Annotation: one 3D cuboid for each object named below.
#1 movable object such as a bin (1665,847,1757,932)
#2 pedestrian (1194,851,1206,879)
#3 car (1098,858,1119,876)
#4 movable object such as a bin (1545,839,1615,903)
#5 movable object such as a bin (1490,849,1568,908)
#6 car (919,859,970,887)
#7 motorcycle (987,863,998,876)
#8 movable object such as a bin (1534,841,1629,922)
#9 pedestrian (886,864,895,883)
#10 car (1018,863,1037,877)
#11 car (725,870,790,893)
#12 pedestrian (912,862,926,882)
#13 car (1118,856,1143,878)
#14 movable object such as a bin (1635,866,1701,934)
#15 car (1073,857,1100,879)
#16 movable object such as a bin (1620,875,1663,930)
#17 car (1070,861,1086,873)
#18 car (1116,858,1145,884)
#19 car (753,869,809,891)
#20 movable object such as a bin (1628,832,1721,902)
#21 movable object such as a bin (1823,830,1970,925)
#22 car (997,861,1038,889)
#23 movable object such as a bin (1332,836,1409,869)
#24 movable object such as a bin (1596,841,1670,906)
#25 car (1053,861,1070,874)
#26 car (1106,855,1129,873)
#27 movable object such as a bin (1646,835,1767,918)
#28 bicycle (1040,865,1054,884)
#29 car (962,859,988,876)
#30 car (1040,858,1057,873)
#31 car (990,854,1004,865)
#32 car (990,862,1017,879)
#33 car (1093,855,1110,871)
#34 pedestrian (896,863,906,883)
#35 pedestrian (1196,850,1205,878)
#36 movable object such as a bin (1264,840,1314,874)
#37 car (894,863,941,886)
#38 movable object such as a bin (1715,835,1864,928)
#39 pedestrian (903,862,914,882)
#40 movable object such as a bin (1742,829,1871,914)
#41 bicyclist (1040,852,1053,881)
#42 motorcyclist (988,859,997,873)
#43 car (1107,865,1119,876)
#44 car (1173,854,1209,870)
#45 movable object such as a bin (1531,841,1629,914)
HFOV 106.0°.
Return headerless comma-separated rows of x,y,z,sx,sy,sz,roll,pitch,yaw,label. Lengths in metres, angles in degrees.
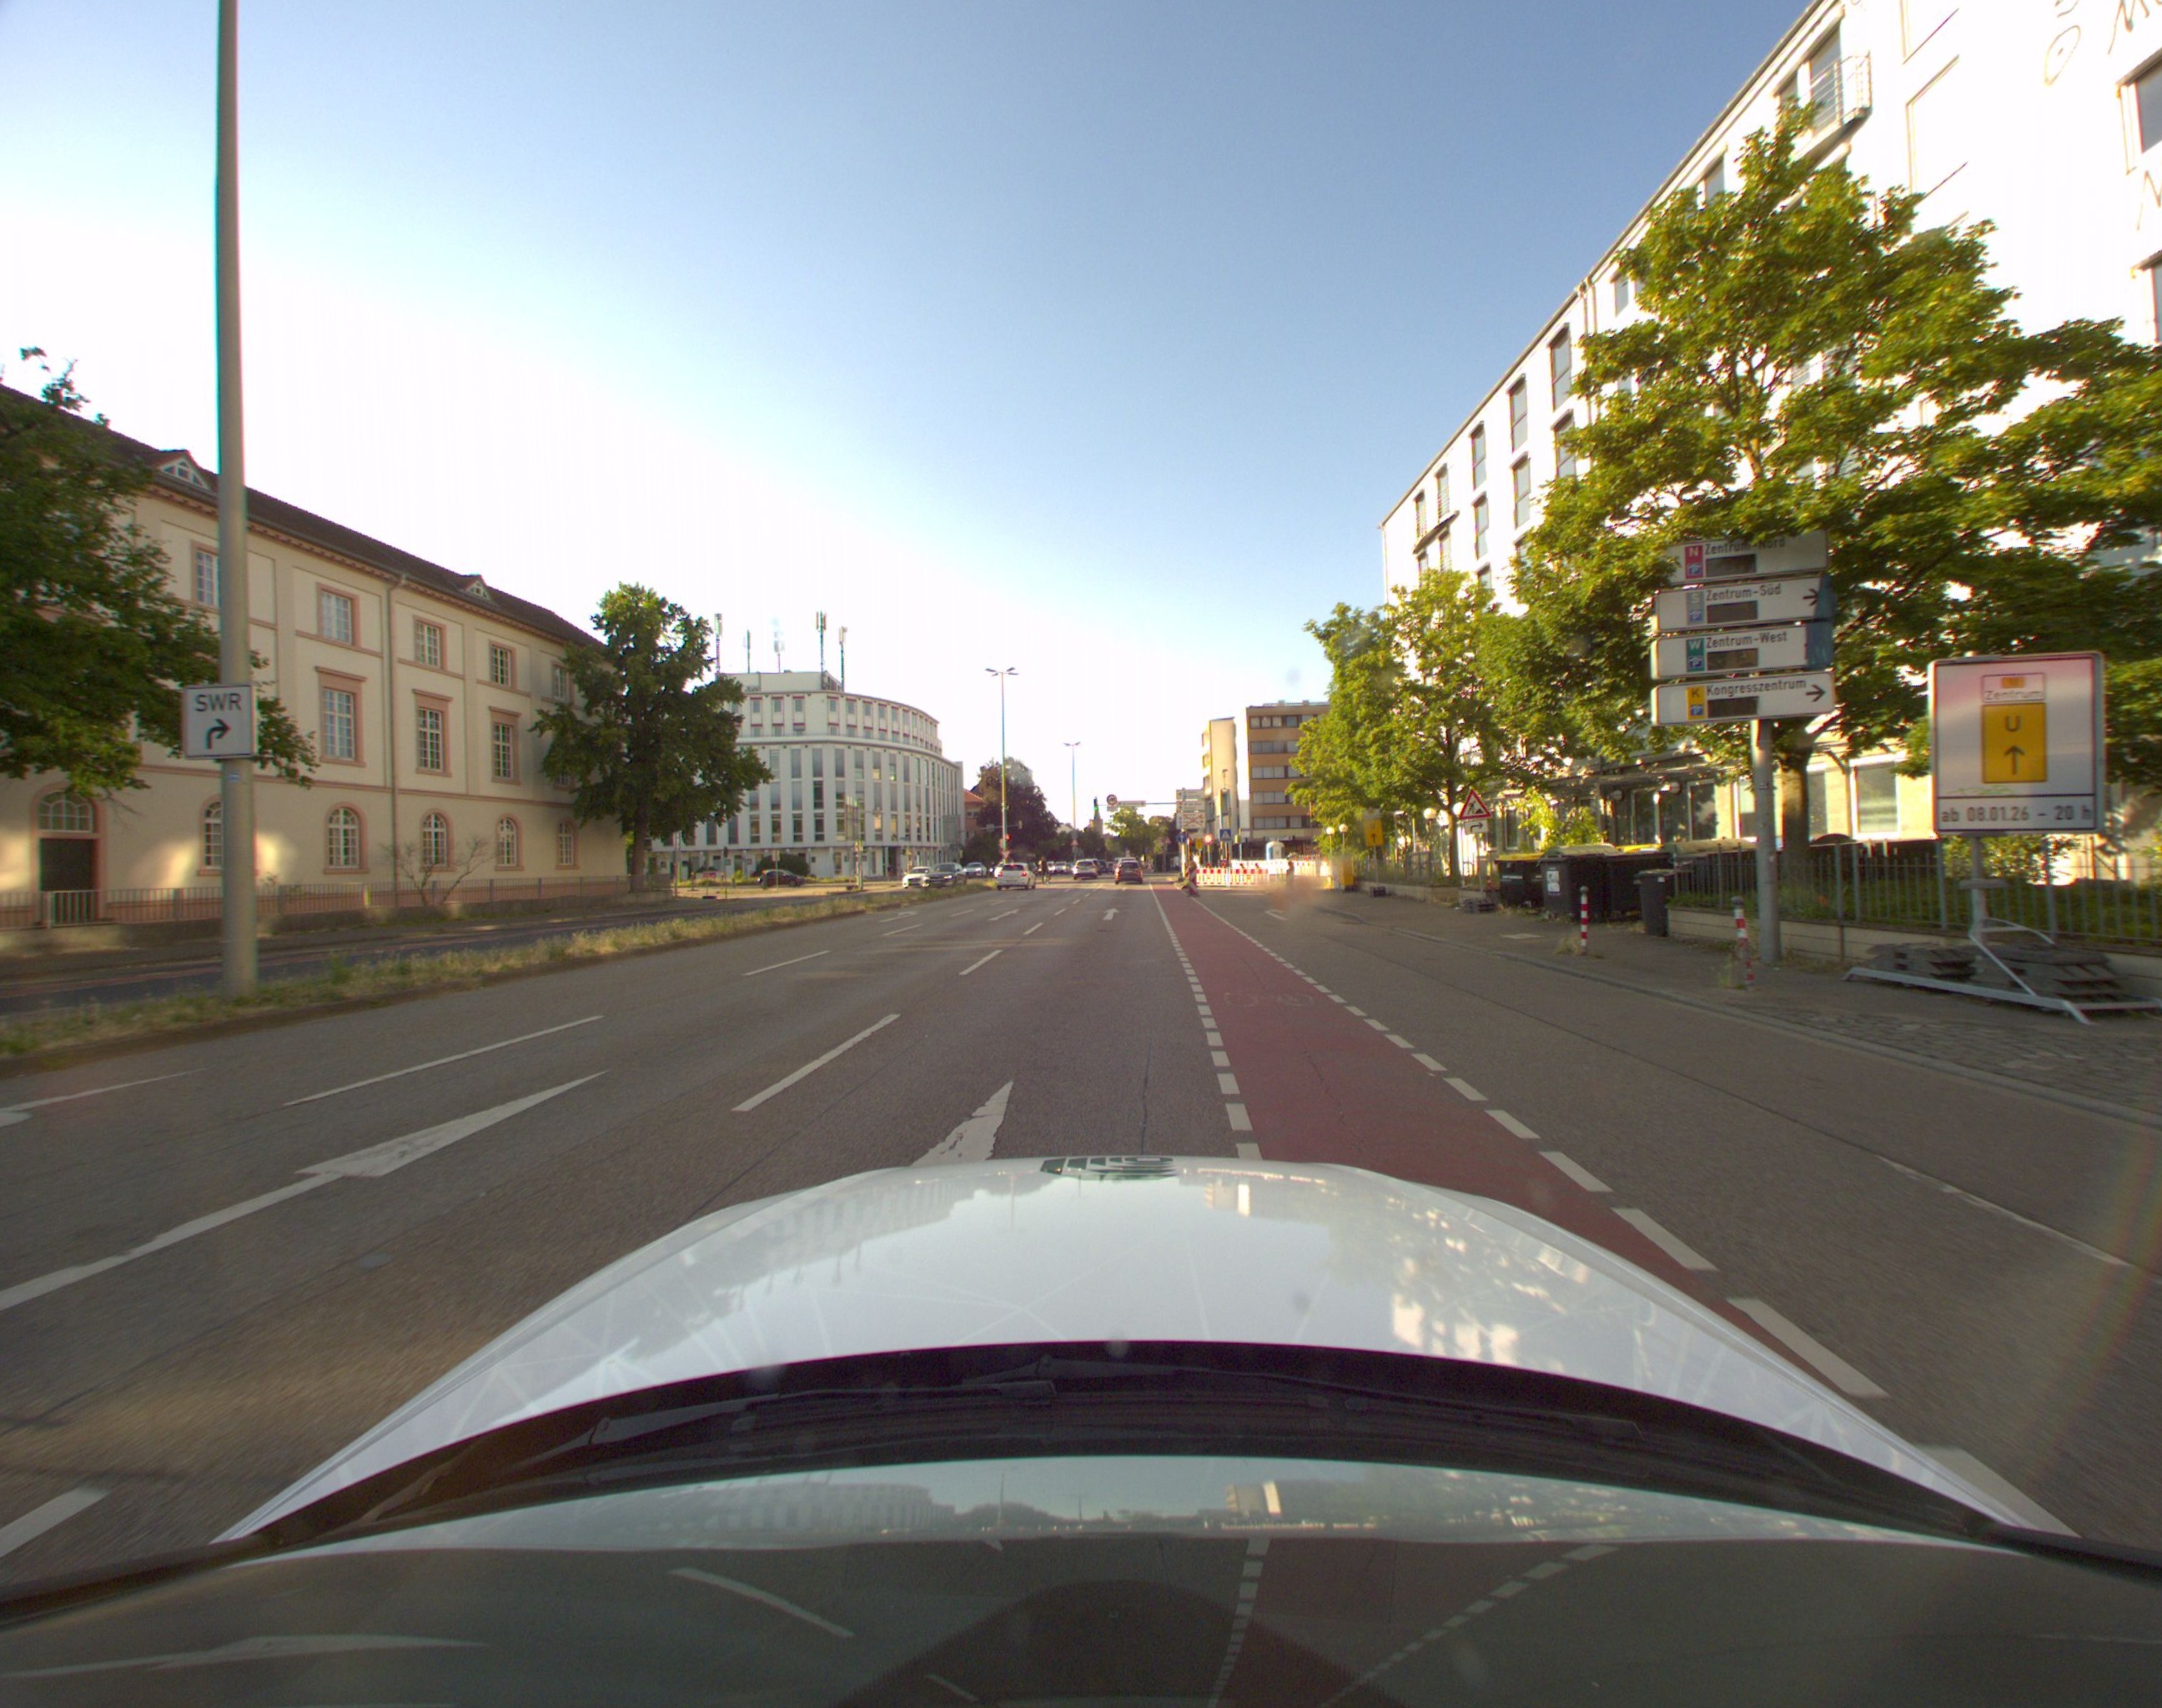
10.165,0.557,13.174,0.774,1.309,0.865,-2,-1,2,movable object such as a bin
7.773,0.709,53.200,0.737,1.799,0.717,-2,-1,8,pedestrian
2.507,1.134,73.795,1.740,1.564,4.054,-2,-1,4,car
12.145,0.406,19.868,1.099,1.485,0.957,-2,-1,3,movable object such as a bin
10.723,0.575,19.524,1.214,1.344,1.051,-2,-1,-12,movable object such as a bin
-8.240,1.133,49.467,1.985,1.578,4.903,-2,-1,3,car
-9.356,1.630,86.257,0.767,1.284,2.844,-2,-1,2,motorcycle
9.863,0.563,16.110,1.088,1.508,1.255,-2,-3,4,movable object such as a bin
-18.217,1.854,77.917,0.660,1.859,0.776,-2,-1,-8,pedestrian
-5.882,1.752,90.349,1.651,1.494,4.002,-2,0,2,car
-25.516,2.139,64.292,4.321,1.629,2.004,-2,-1,7,car
-15.344,1.733,77.213,0.620,1.868,1.134,-2,-1,32,pedestrian
3.886,1.012,64.261,1.812,1.640,4.003,-2,-1,3,car
9.448,0.737,13.129,0.616,1.046,0.617,-2,-1,6,movable object such as a bin
0.462,1.052,62.465,1.740,1.564,4.054,-2,-1,4,car
9.528,0.816,13.858,0.391,0.907,0.491,-2,-1,6,movable object such as a bin
-0.315,1.611,101.240,1.841,1.461,4.050,-2,-1,1,car
3.182,1.039,51.646,1.740,1.564,4.054,-2,-1,4,car
-24.605,2.137,66.807,3.796,1.530,1.863,-3,-3,0,car
13.412,0.294,18.457,1.321,1.485,1.017,-2,-1,2,movable object such as a bin
13.067,0.372,13.089,1.400,1.410,0.865,-3,-1,2,movable object such as a bin
-3.518,1.161,45.601,1.677,1.457,4.004,-1,0,4,car
23.589,-0.107,66.592,5.330,2.490,2.549,-2,-1,1,movable object such as a bin
13.264,0.458,19.602,1.121,1.485,0.957,-2,-1,4,movable object such as a bin
-2.272,1.554,95.551,1.841,1.461,4.050,-2,-1,1,car
3.512,0.987,78.004,1.985,1.508,4.002,-3,-3,3,car
11.753,0.409,15.371,1.301,1.433,1.282,-3,0,8,movable object such as a bin
-2.095,1.276,50.642,0.697,1.100,2.258,-2,-1,1,bicycle
-10.063,1.255,77.851,1.678,1.499,4.516,-2,0,2,car
-4.304,1.495,107.611,1.908,1.811,4.718,-2,-1,1,car
-12.494,0.843,121.697,1.837,1.572,3.995,-2,-1,-3,car
-6.782,1.393,71.308,1.678,1.392,4.184,-2,0,3,car
2.278,0.965,89.935,1.657,1.657,4.005,-2,-1,4,car
-17.225,1.794,78.016,0.757,1.842,0.816,-2,-1,-6,pedestrian
7.913,0.670,53.910,0.518,1.868,0.615,-2,-1,6,pedestrian
15.408,0.211,60.531,3.315,2.383,1.530,-2,-1,2,movable object such as a bin
-11.307,1.388,56.753,1.984,1.413,4.449,-3,-1,5,car
11.478,0.444,13.241,1.601,1.410,0.865,-2,-1,2,movable object such as a bin
-16.383,1.735,77.274,0.655,1.868,0.782,-2,-1,16,pedestrian
13.162,0.299,14.835,1.189,1.421,1.281,-3,0,6,movable object such as a bin
-2.121,0.775,50.482,0.688,1.728,0.988,-2,-1,1,bicyclist
-9.363,1.299,86.439,0.767,1.419,1.239,-2,-1,2,motorcyclist
4.902,2.466,123.225,1.657,1.657,4.005,-2,-1,4,car
13.858,1.044,102.796,4.347,1.877,2.001,-2,-1,2,car
10.830,0.506,17.741,1.324,1.485,1.208,-2,-1,-6,movable object such as a bin
